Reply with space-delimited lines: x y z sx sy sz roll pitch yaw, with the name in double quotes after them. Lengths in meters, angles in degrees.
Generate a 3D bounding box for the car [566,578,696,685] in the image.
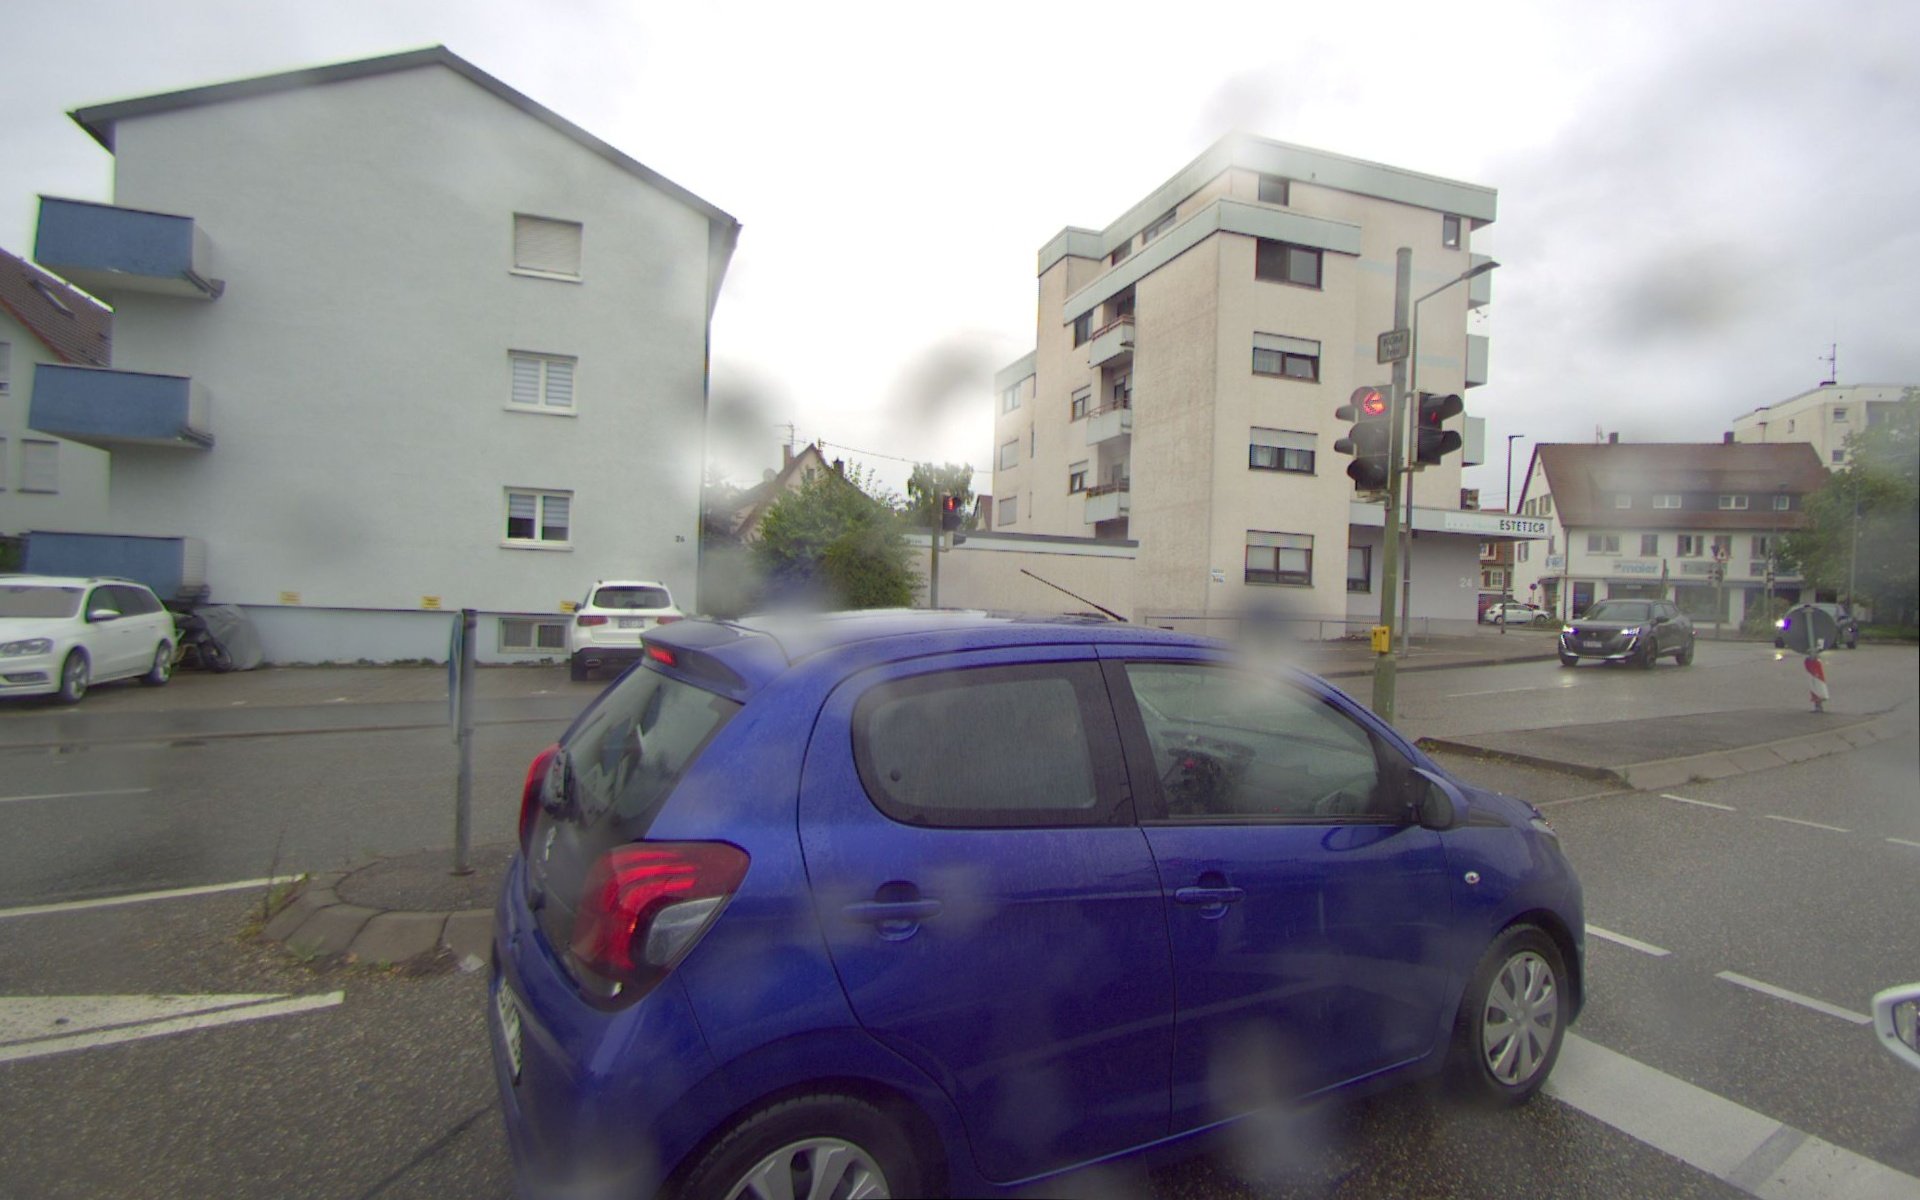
-5.766 0.503 17.562 1.884 1.637 3.982 2 0 -19 "car"

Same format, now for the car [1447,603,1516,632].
37.206 1.228 71.717 3.987 1.868 1.889 2 0 14 "car"

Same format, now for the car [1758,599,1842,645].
31.456 0.823 37.590 4.154 1.618 1.861 2 0 -42 "car"

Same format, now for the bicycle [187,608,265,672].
-12.697 0.681 17.407 1.053 1.067 0.345 0 1 -30 "bicycle"

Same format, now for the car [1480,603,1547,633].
37.913 1.224 68.886 3.611 1.946 1.889 2 0 14 "car"

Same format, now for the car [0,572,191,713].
-11.484 0.450 12.492 1.854 1.480 4.732 1 -1 -23 "car"

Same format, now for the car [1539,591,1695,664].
15.345 0.626 23.409 3.967 1.532 1.951 2 0 -40 "car"

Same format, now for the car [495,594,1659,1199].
0.467 0.734 3.088 3.324 1.432 1.498 1 1 -30 "car"
